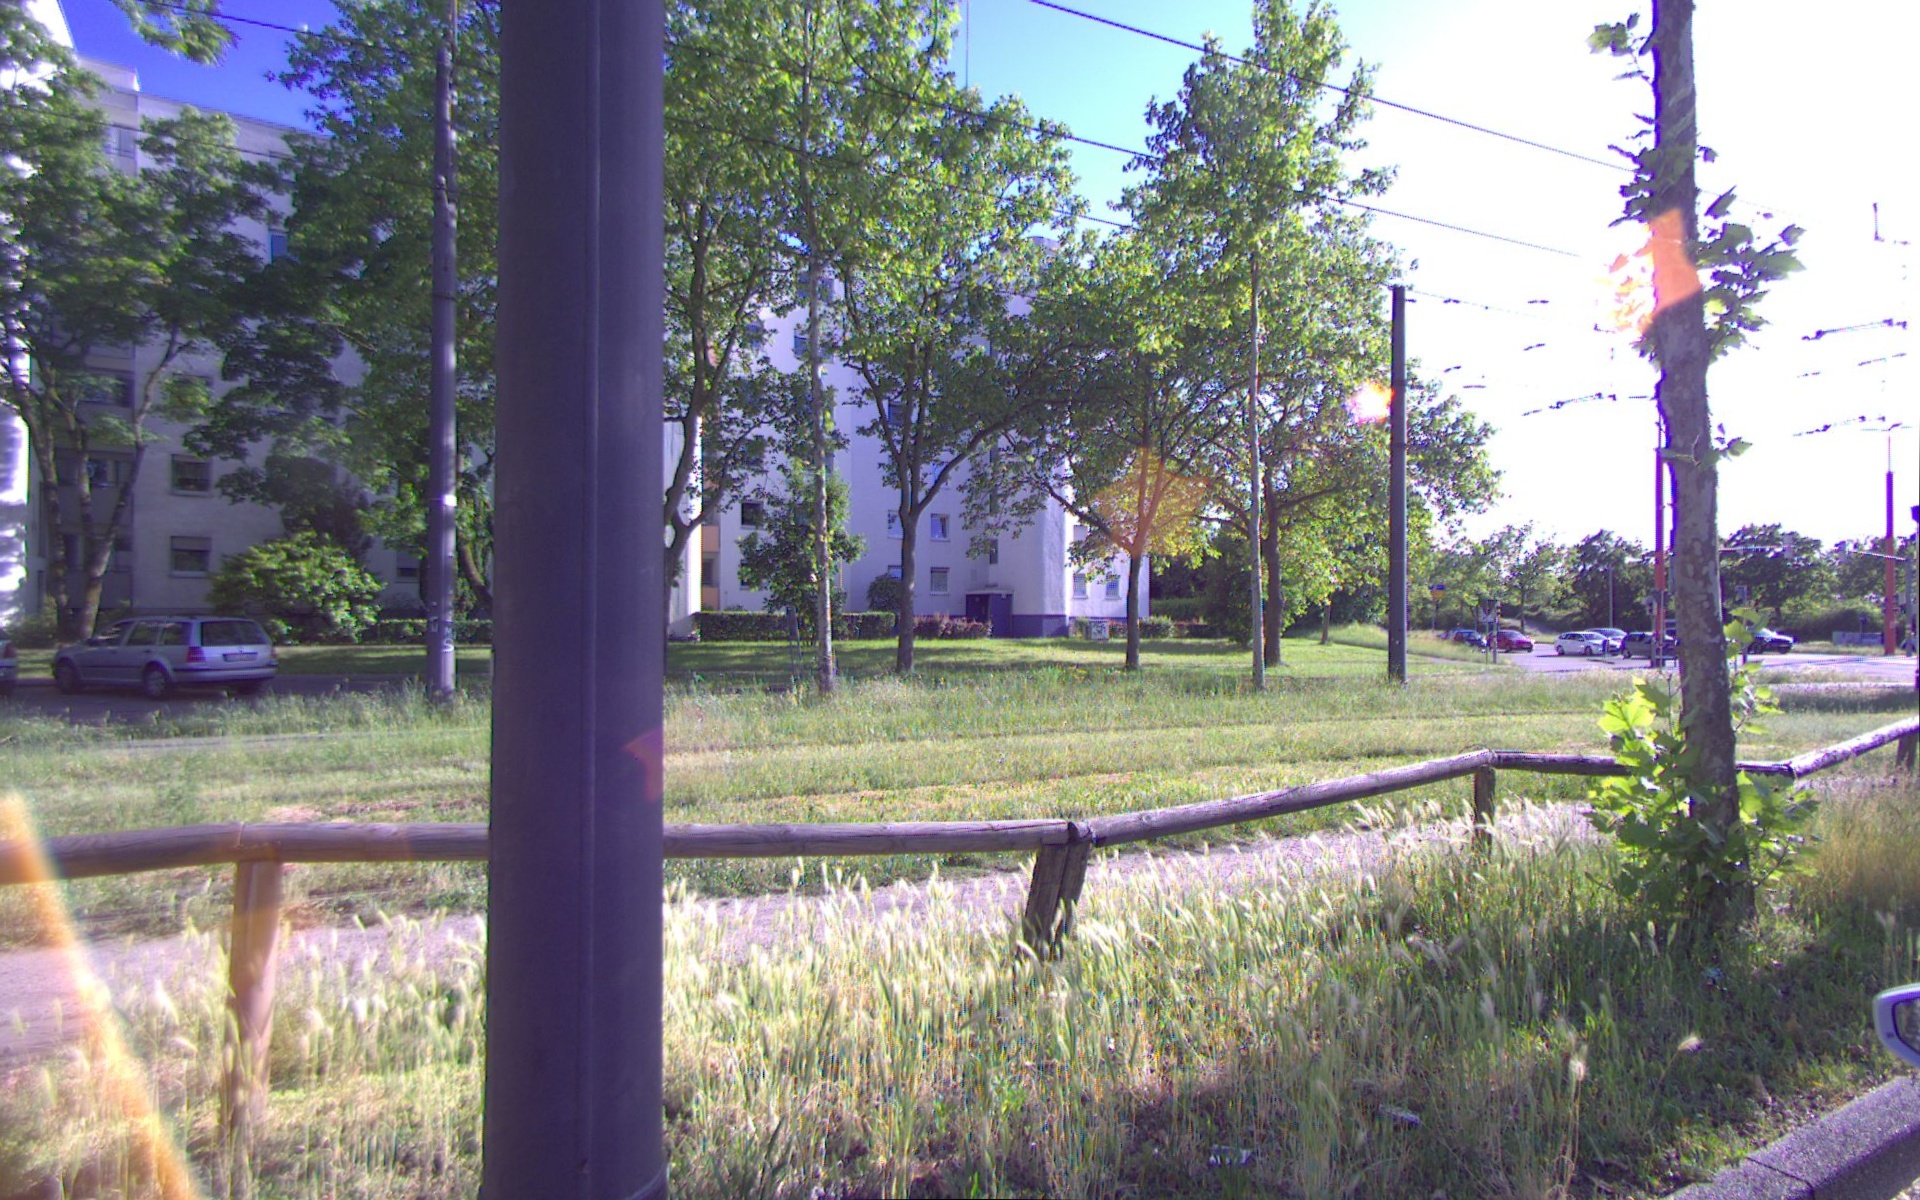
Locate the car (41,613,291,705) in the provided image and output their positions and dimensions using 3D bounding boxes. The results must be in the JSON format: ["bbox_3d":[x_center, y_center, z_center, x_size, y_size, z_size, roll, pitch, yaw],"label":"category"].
[{"bbox_3d":[-14.566,1.016,18.465,3.898,1.462,1.710,1,0,18],"label":"car"}]

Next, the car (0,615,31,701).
[{"bbox_3d":[-17.938,0.954,17.108,3.547,1.439,1.576,1,0,18],"label":"car"}]

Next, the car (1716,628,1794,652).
[{"bbox_3d":[48.787,2.434,61.733,1.664,1.347,4.001,1,-1,2],"label":"car"}]

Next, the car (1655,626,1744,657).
[{"bbox_3d":[42.458,2.348,57.774,1.962,1.666,3.997,1,-1,-5],"label":"car"}]

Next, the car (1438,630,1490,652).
[{"bbox_3d":[33.980,2.727,67.744,1.772,1.409,2.843,1,-1,-12],"label":"car"}]

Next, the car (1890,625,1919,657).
[{"bbox_3d":[59.557,2.568,61.351,1.731,1.915,3.840,2,0,-6],"label":"car"}]

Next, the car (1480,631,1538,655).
[{"bbox_3d":[38.462,2.996,70.429,1.699,1.533,3.998,1,-1,-4],"label":"car"}]

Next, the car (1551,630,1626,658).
[{"bbox_3d":[38.996,2.708,62.457,1.833,1.633,4.185,1,-1,-4],"label":"car"}]
